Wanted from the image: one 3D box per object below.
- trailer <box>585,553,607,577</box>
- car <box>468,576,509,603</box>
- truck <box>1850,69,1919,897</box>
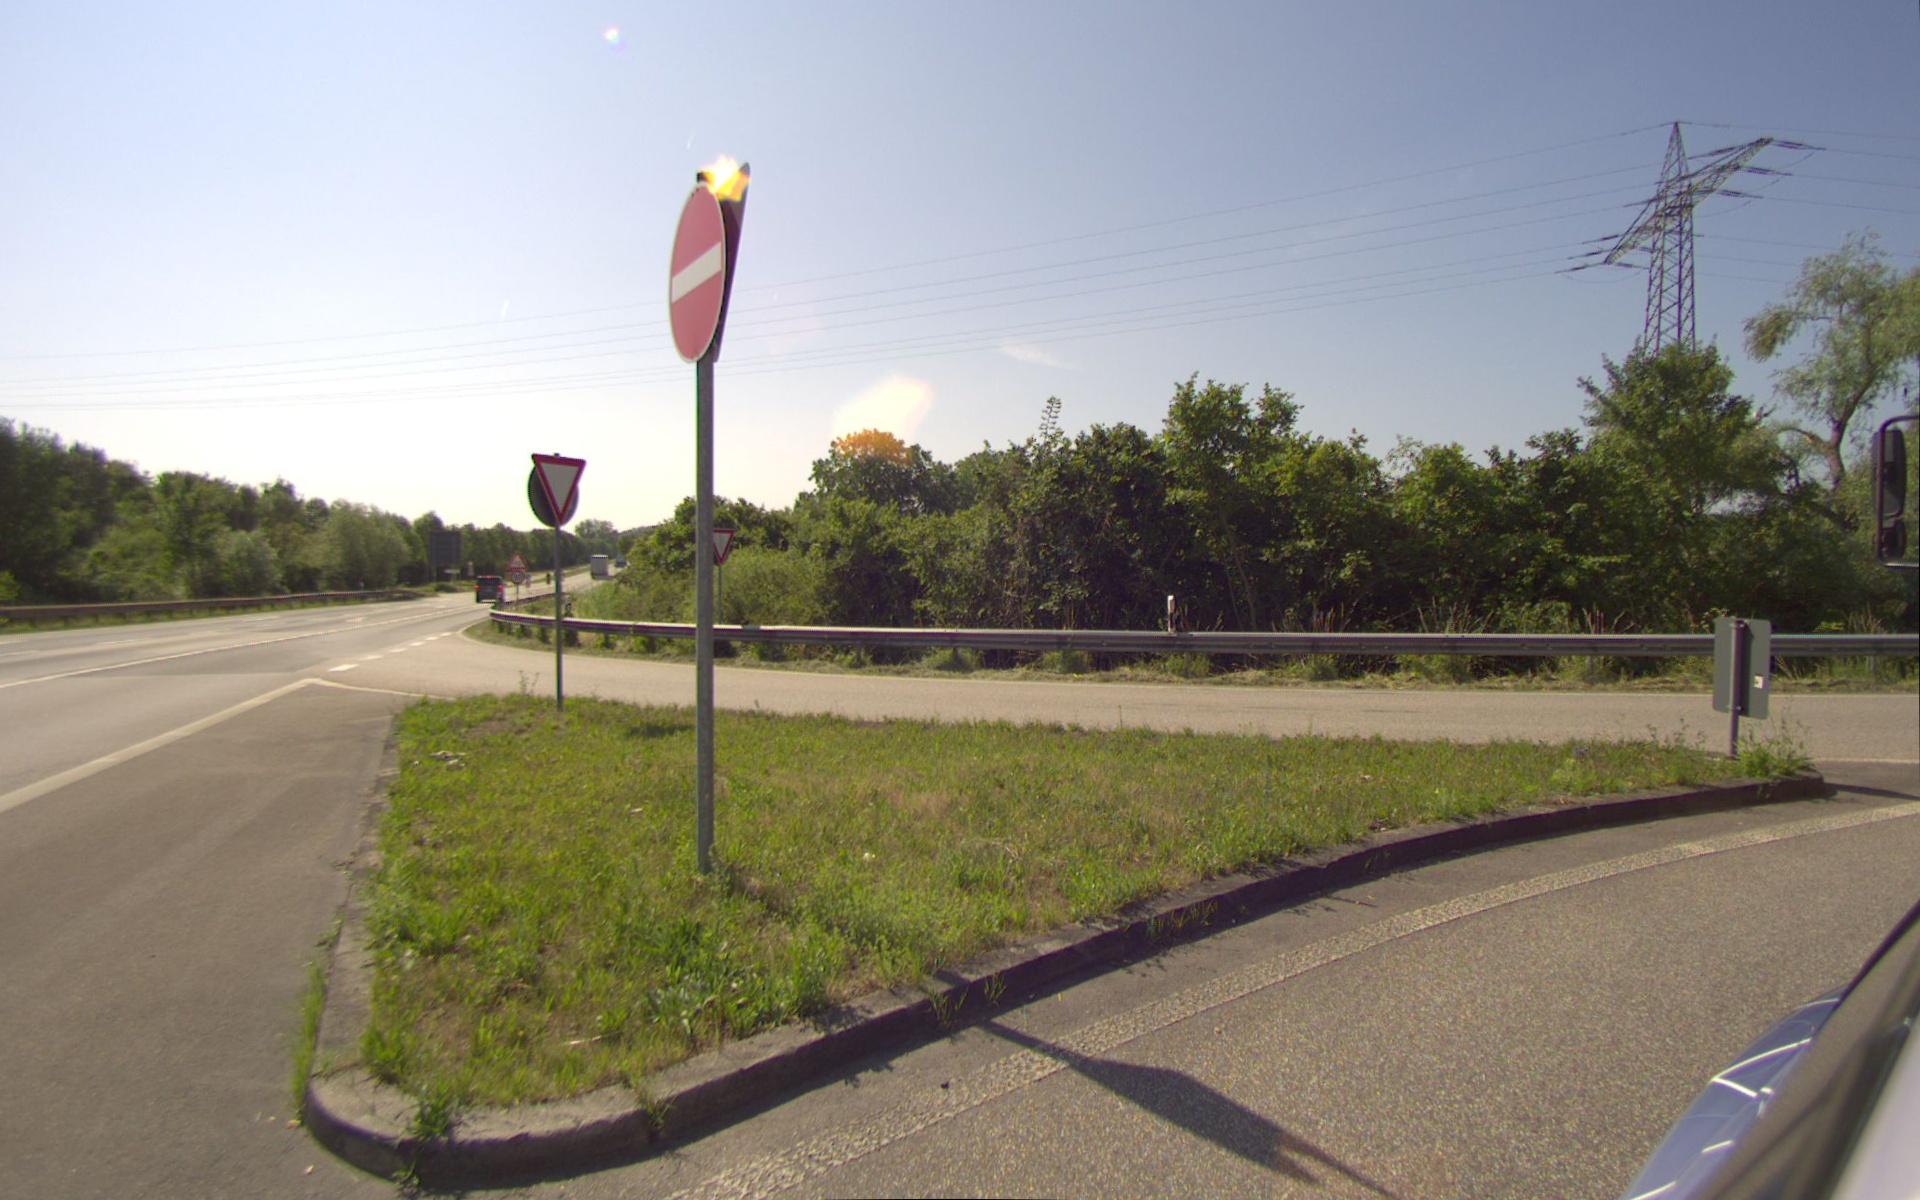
[{"bbox_3d":[-65.957,-6.284,183.451,2.869,4.060,13.447,-1,2,-16],"label":"trailer"},{"bbox_3d":[-34.493,-0.762,74.191,1.958,1.903,5.004,0,0,-16],"label":"car"},{"bbox_3d":[8.880,-0.538,5.382,9.070,3.707,2.696,0,1,-24],"label":"truck"}]
